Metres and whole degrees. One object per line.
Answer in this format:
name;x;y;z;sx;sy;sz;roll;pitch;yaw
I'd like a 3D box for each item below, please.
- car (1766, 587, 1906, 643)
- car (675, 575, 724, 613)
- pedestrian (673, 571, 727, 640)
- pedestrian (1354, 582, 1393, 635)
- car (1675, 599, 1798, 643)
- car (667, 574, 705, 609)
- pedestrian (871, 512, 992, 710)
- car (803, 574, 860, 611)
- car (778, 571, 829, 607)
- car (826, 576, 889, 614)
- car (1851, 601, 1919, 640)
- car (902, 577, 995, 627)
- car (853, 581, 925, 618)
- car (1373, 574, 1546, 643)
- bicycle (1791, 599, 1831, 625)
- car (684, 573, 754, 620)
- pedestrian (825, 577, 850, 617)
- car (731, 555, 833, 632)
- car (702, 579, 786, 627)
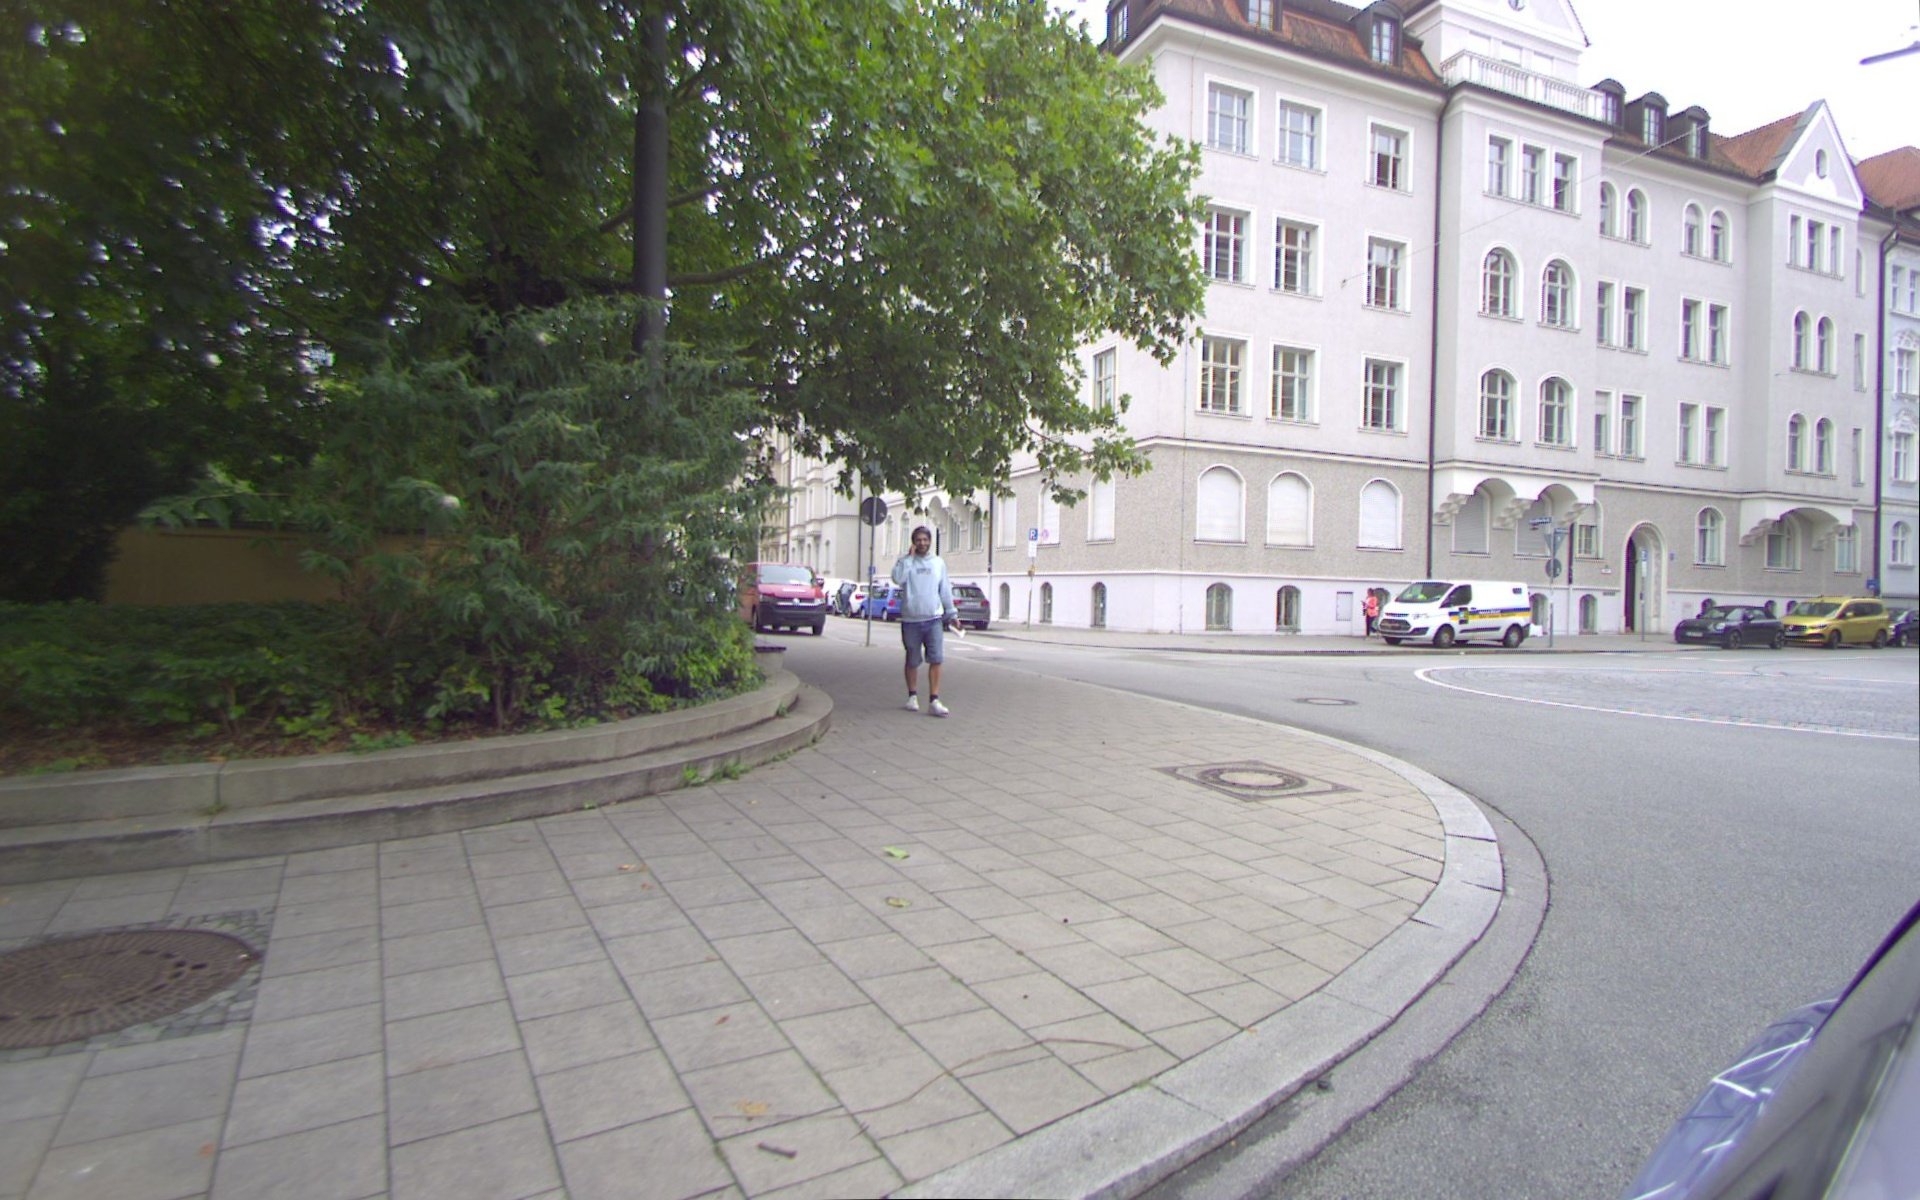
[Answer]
car;31.216;0.514;36.080;4.049;1.862;2.031;1;1;-21
car;-11.313;-0.299;43.809;1.458;1.558;3.700;-1;2;-24
pedestrian;-5.297;0.108;20.619;0.991;1.355;0.878;1;0;-18
pedestrian;13.095;0.266;32.036;0.838;1.656;0.735;1;0;-23
car;26.236;0.707;34.215;3.602;1.363;1.701;1;1;-22
car;-12.984;-0.412;47.922;1.481;1.585;2.876;-1;2;-20
pedestrian;-0.298;0.094;9.776;0.858;1.793;1.054;1;0;-20
car;-6.791;-0.432;52.873;1.715;1.810;5.047;2;0;-21
car;-9.103;-0.672;58.597;1.823;1.962;4.968;2;0;-21
car;-4.860;-0.266;47.385;1.715;1.622;4.506;2;0;-22
car;35.700;0.777;38.230;3.465;1.363;1.701;1;1;-23
car;-0.486;0.029;36.032;1.715;1.622;4.506;2;0;-22
car;-3.068;-0.028;43.047;1.663;1.432;3.668;2;0;-28
car;14.714;0.240;29.790;4.809;1.904;1.929;1;1;-24
bicycle;36.502;0.526;43.415;1.792;1.062;0.493;1;0;-22
car;-9.423;-0.184;39.295;1.851;1.673;4.833;-1;2;-23
pedestrian;-5.602;-0.134;46.336;0.863;1.778;0.961;1;0;11
car;-5.063;-0.224;28.269;1.841;1.944;4.898;-1;1;-22
car;-7.240;0.045;33.589;1.851;1.466;4.377;-1;2;-24
